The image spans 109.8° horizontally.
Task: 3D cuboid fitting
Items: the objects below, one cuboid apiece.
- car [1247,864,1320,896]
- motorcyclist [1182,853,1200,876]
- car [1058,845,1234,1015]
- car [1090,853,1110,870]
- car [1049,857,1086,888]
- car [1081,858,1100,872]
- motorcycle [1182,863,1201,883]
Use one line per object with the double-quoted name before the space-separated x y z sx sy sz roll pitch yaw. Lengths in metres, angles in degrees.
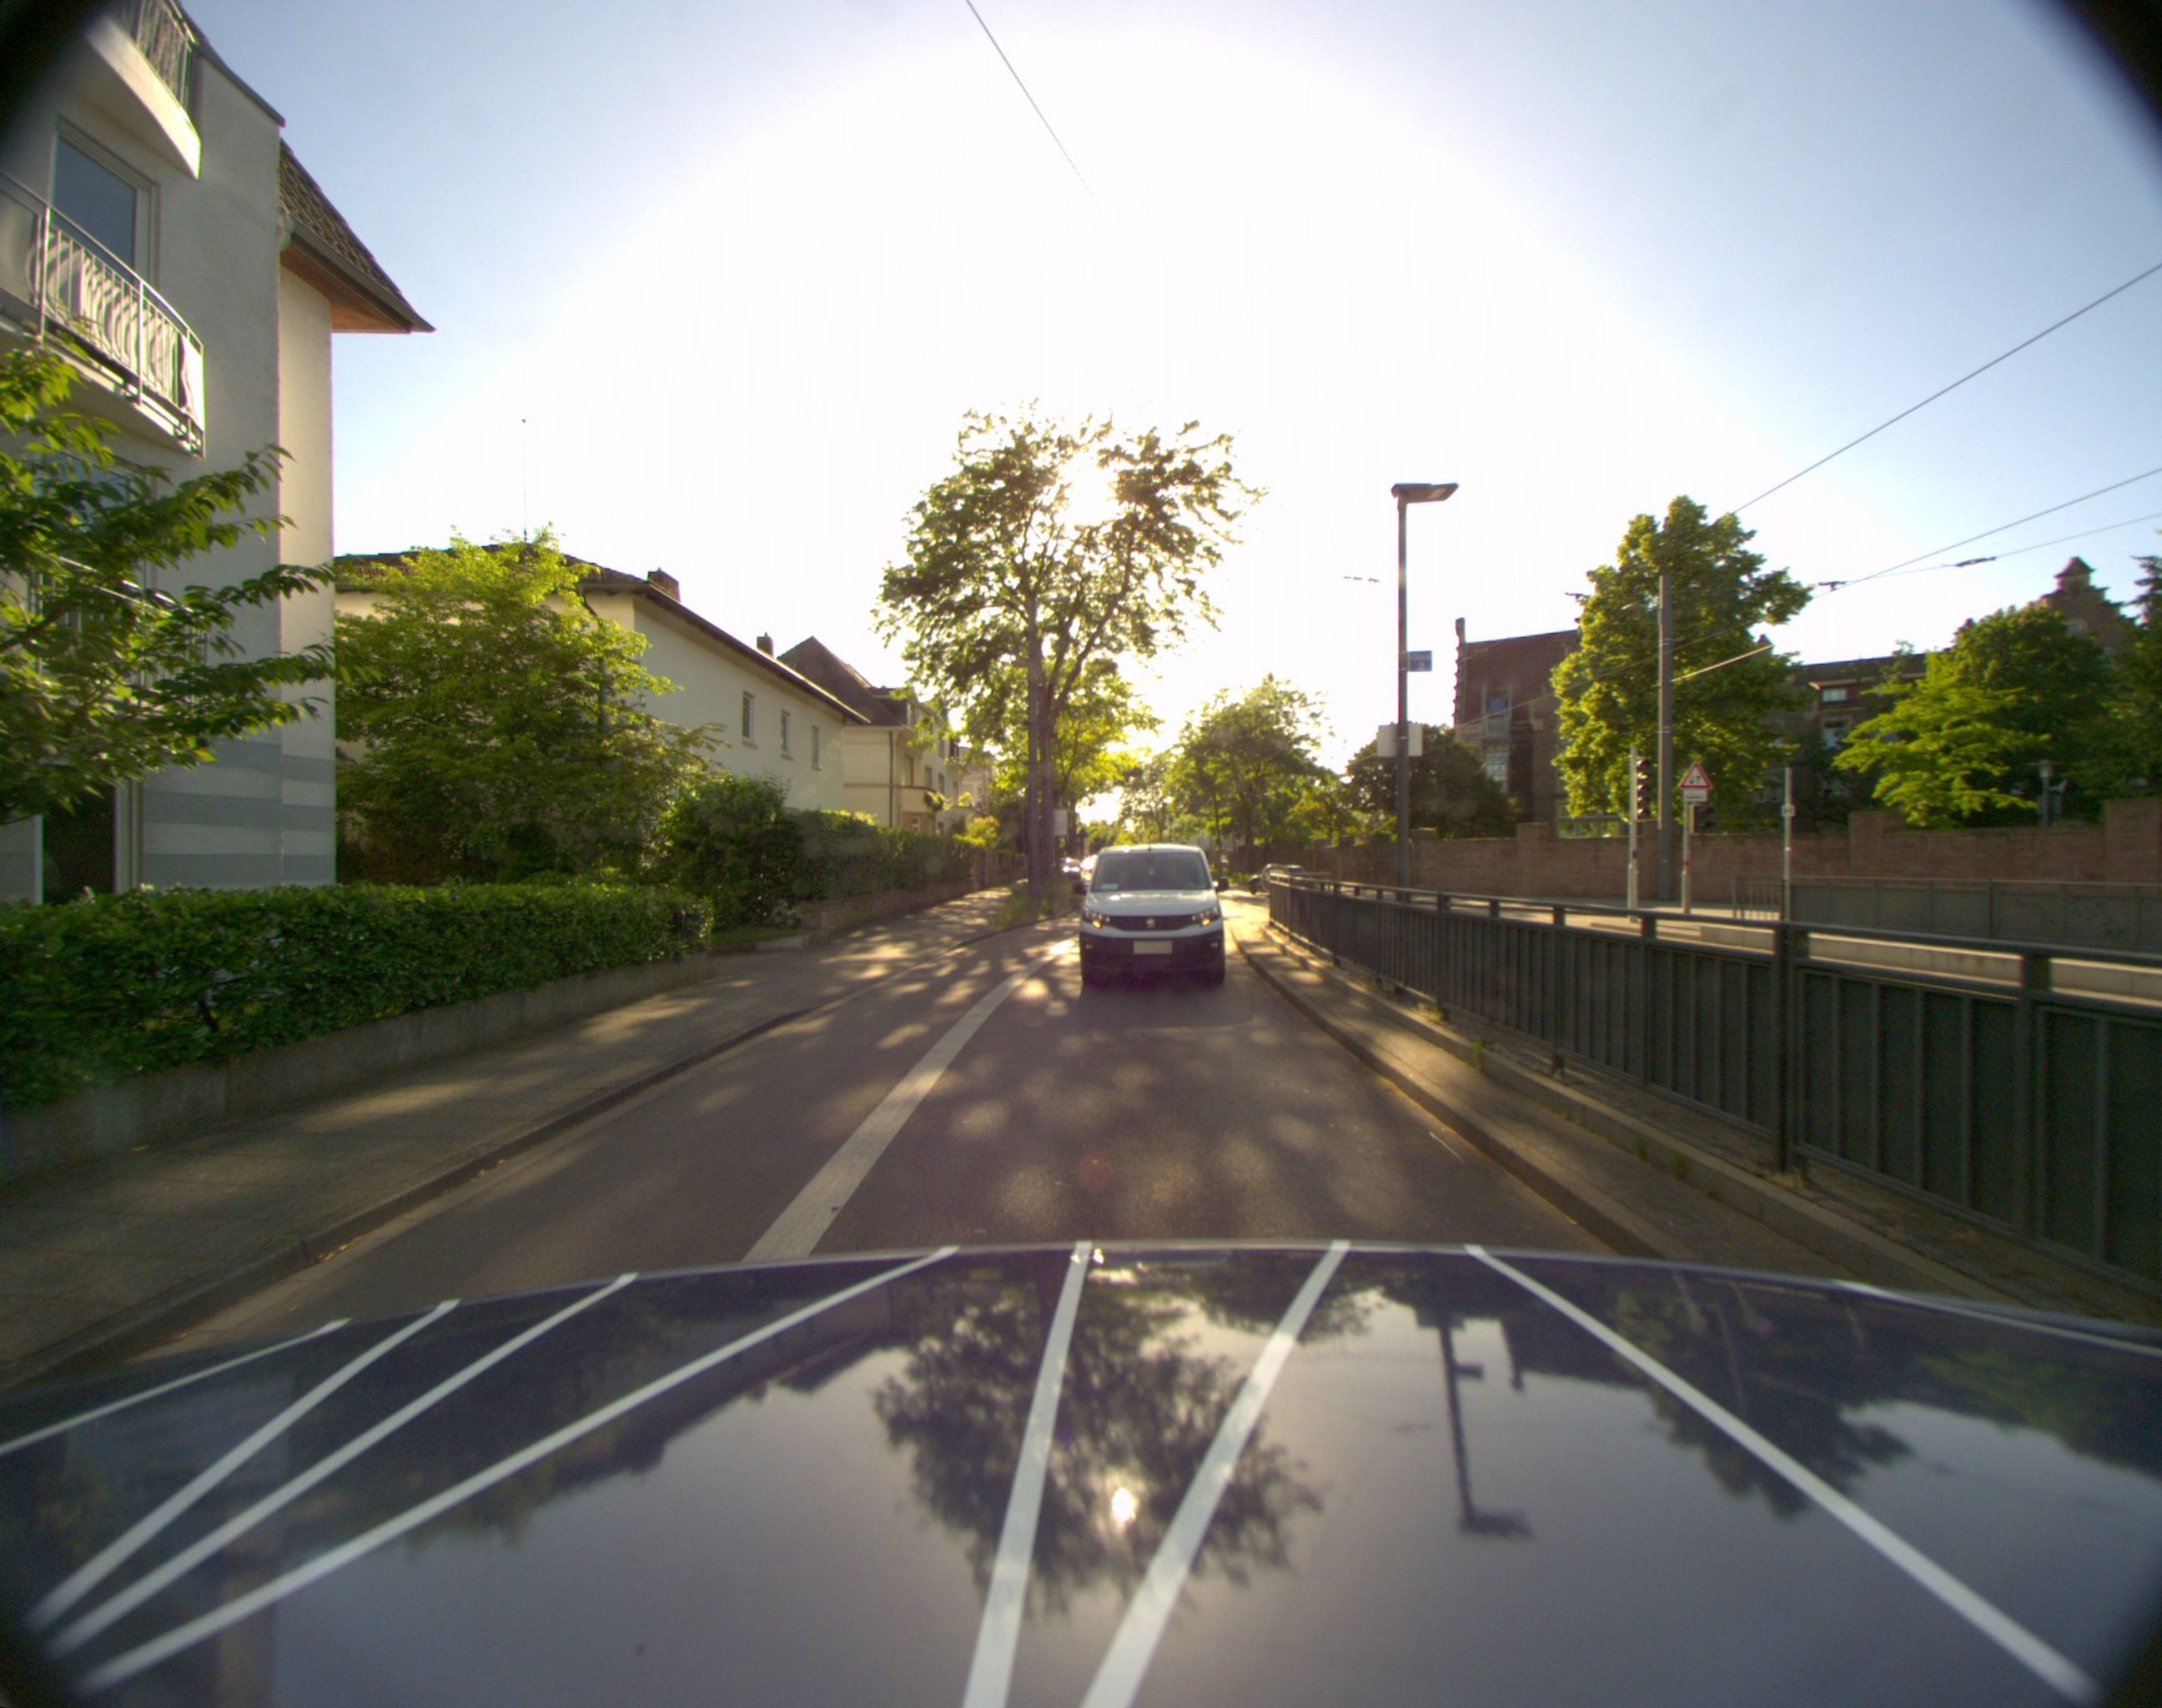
"car" 9.296 1.195 35.163 1.861 1.394 3.981 0 -2 -8
"motorcyclist" 7.512 0.686 51.766 1.127 1.516 1.055 -1 1 4
"car" 0.865 0.813 10.345 1.831 1.788 4.335 -2 0 4
"car" 2.138 0.866 86.103 1.903 1.818 4.250 -1 0 6
"car" -0.760 1.048 45.668 1.998 1.733 4.171 -1 0 1
"car" 1.028 1.159 79.779 1.719 1.332 3.919 -1 0 5
"motorcycle" 7.525 1.279 51.886 1.132 1.236 2.574 -1 0 4
